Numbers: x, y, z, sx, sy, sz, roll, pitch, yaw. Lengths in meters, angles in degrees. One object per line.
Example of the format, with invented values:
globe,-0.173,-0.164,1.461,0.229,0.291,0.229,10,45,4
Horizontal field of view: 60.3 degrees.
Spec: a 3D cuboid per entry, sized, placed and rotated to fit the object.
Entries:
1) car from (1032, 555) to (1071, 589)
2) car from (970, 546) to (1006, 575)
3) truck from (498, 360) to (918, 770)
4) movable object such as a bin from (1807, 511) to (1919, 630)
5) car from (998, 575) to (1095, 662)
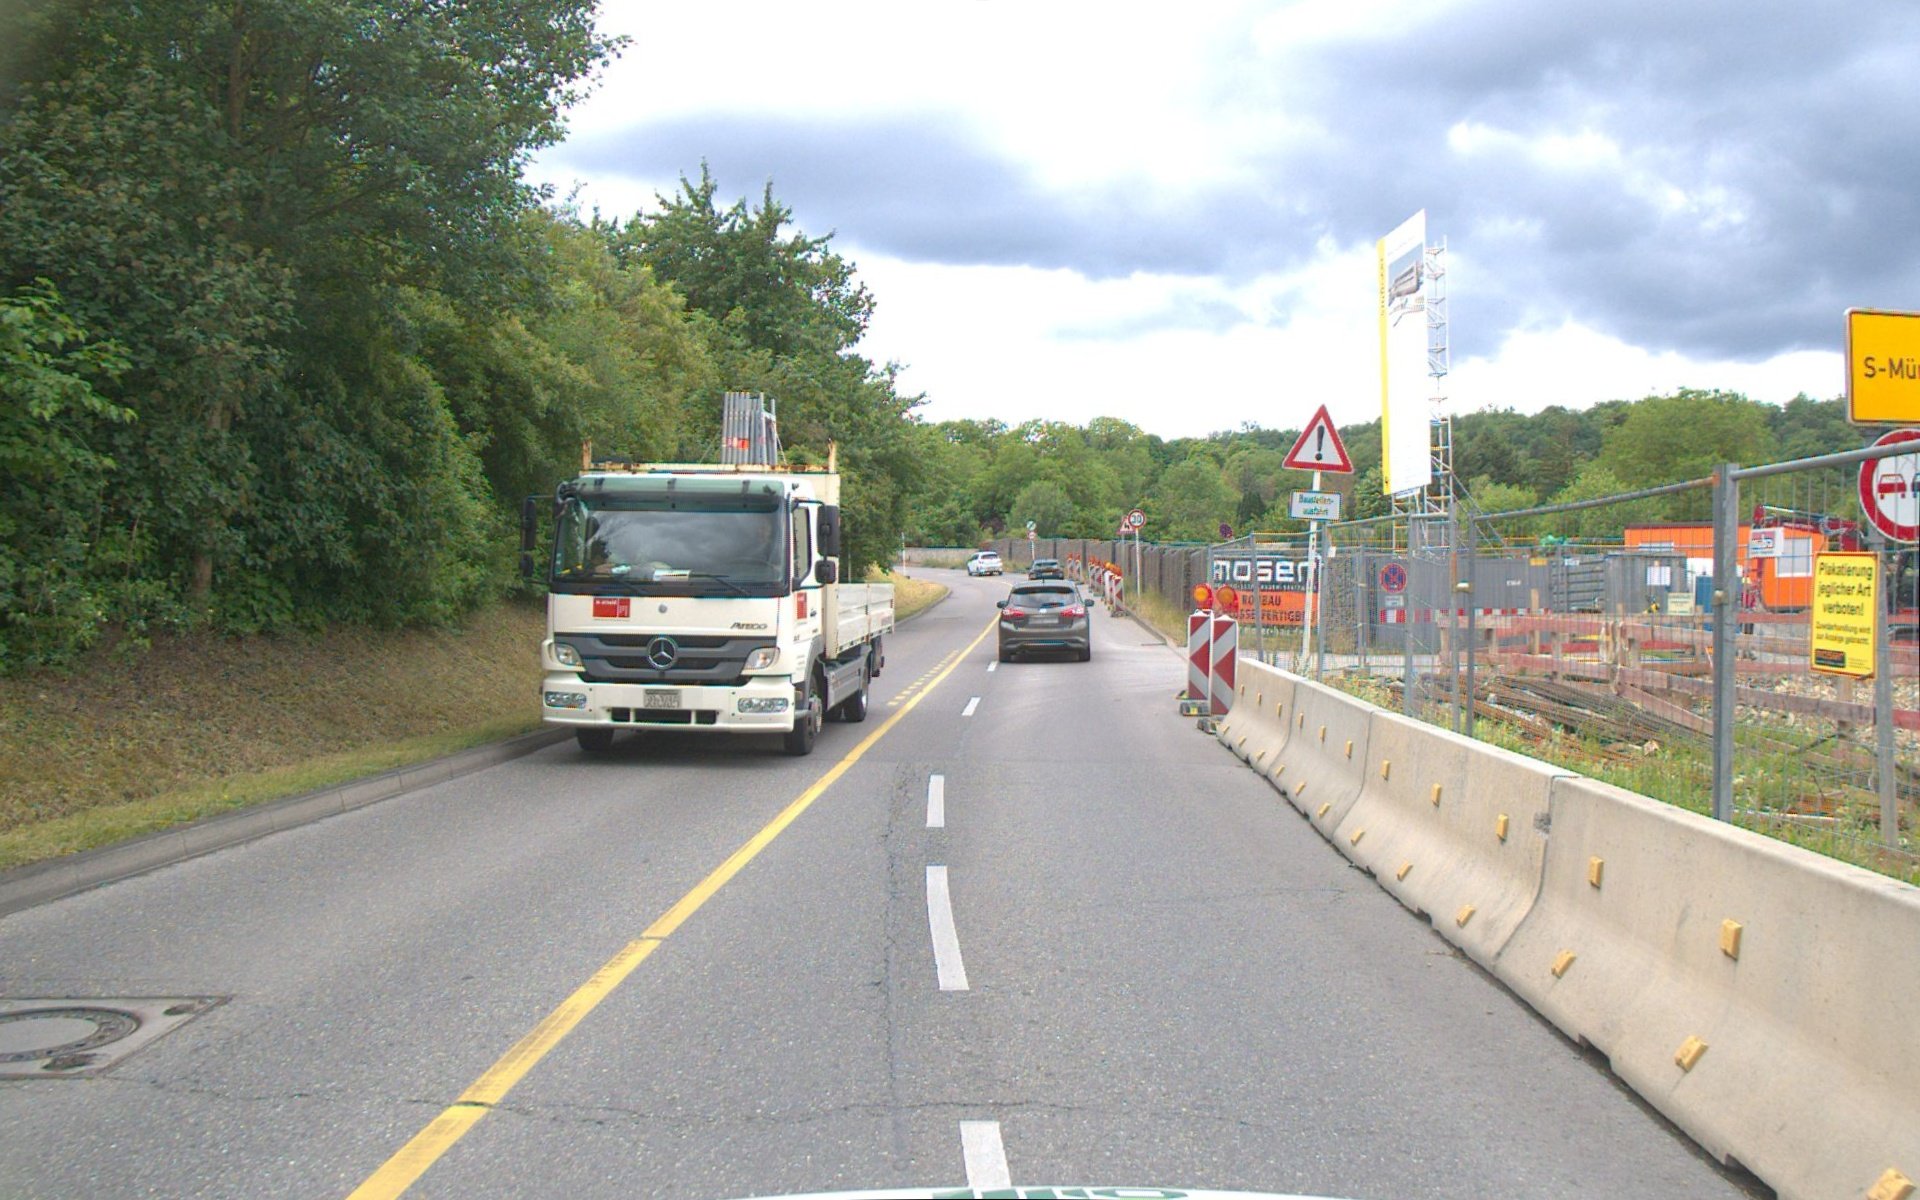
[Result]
car,4.474,-1.362,80.790,1.781,1.579,3.791,1,0,4
car,1.751,-2.536,106.371,1.680,1.704,3.992,-1,0,-8
truck,-2.229,-0.400,18.034,2.761,3.394,8.385,1,1,4
movable object such as a bin,25.118,-0.797,45.397,2.733,3.131,1.841,-1,-1,2
car,1.725,0.322,32.540,1.760,1.579,4.002,0,1,4
